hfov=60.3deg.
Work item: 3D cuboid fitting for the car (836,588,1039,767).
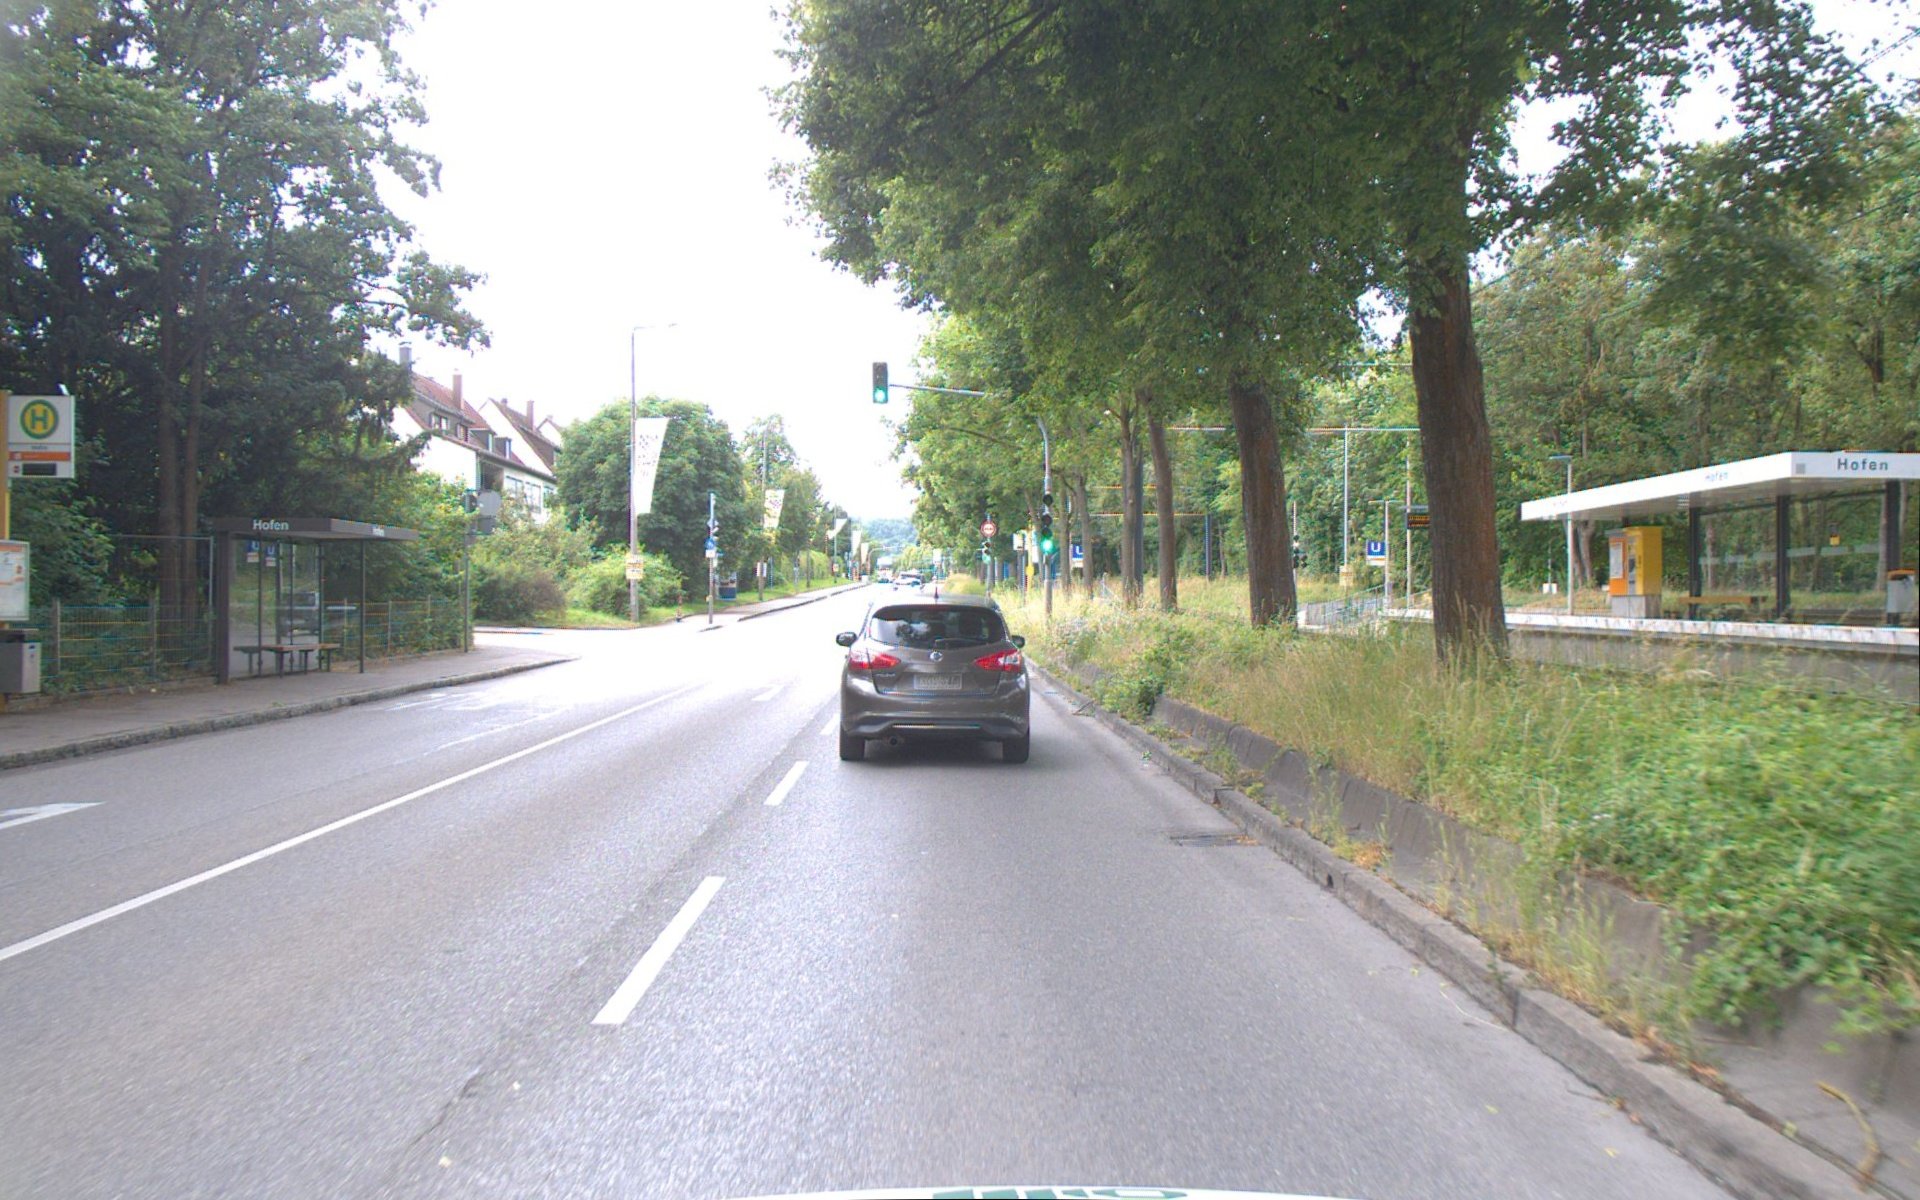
[{"bbox_3d":[-0.220,0.666,16.111,1.747,1.533,3.695,0,0,-1],"label":"car"}]

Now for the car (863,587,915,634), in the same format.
[{"bbox_3d":[-2.314,0.320,54.638,1.657,1.466,3.540,1,0,-2],"label":"car"}]

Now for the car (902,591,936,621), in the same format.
[{"bbox_3d":[-2.063,0.298,83.211,1.657,1.466,3.540,1,0,-2],"label":"car"}]

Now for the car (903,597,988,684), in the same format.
[{"bbox_3d":[-0.303,0.705,30.618,1.471,1.466,3.540,1,0,-2],"label":"car"}]

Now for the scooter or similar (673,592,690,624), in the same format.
[{"bbox_3d":[-11.401,0.327,67.809,0.453,1.281,1.426,1,0,0],"label":"scooter or similar"}]

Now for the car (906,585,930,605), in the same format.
[{"bbox_3d":[-3.029,-0.373,119.698,1.657,1.466,3.540,1,0,-2],"label":"car"}]
